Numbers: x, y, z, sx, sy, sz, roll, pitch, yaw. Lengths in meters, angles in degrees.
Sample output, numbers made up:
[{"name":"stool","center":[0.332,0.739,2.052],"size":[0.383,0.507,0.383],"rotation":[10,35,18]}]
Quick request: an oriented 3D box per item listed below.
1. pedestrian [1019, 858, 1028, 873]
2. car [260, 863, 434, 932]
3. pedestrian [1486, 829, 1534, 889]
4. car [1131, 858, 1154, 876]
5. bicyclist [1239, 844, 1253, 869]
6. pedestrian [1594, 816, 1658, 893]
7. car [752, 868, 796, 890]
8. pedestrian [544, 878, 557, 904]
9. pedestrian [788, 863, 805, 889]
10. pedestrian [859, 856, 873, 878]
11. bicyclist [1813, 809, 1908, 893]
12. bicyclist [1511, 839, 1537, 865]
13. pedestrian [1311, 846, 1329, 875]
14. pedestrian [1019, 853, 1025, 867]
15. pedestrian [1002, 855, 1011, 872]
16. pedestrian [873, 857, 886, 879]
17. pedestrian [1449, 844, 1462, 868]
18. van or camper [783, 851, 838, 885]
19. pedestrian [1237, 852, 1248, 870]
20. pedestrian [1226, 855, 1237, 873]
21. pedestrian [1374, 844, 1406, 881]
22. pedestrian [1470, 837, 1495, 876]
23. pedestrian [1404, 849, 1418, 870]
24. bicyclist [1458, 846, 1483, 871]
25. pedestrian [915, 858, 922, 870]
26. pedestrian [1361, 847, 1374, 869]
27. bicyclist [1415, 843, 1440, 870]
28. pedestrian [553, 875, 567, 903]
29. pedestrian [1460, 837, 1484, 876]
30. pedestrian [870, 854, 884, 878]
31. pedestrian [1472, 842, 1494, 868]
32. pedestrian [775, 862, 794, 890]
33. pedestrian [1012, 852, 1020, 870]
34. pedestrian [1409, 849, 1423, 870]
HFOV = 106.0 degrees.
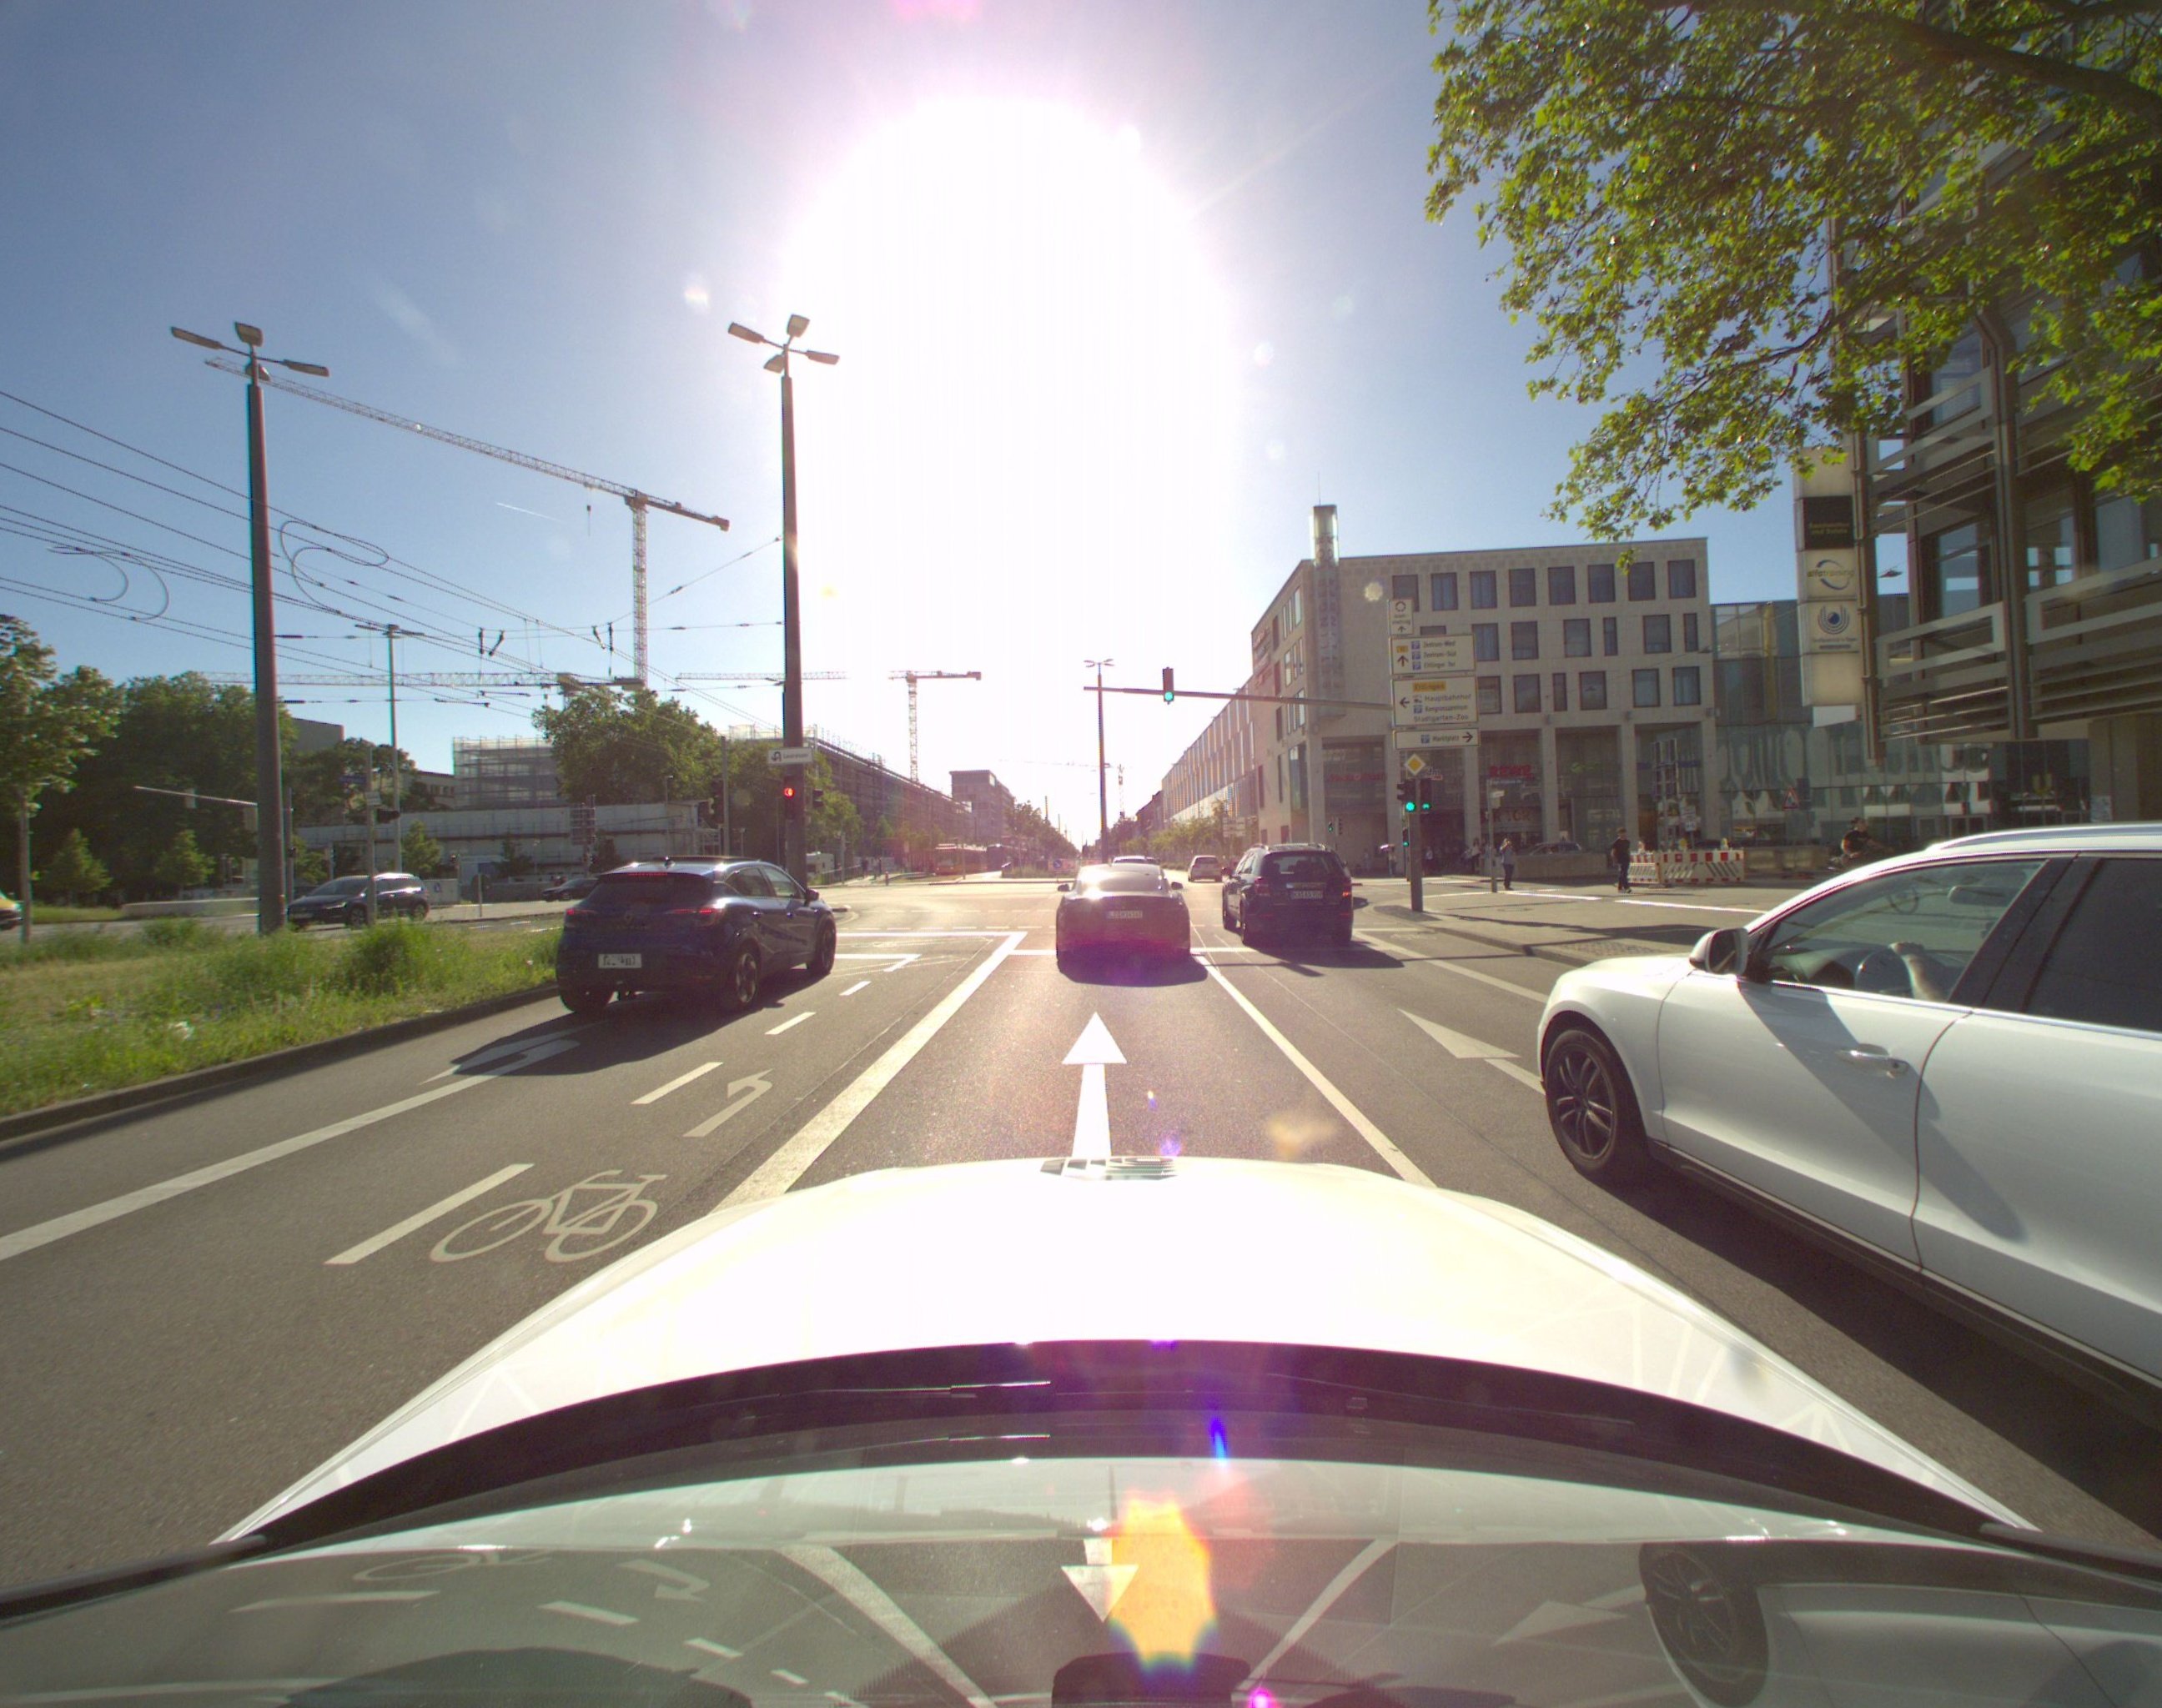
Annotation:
[{"name":"pedestrian","center":[-5.982,1.196,84.727],"size":[0.739,1.628,0.862],"rotation":[-2,-1,2]},{"name":"car","center":[-23.508,1.332,26.321],"size":[1.863,1.955,4.001],"rotation":[-2,0,1]},{"name":"pedestrian","center":[14.787,0.173,28.088],"size":[0.947,2.014,1.076],"rotation":[-2,-1,-10]},{"name":"car","center":[5.187,1.118,69.003],"size":[1.710,1.432,4.001],"rotation":[-1,0,2]},{"name":"bicyclist","center":[11.900,0.169,58.612],"size":[0.723,1.737,0.996],"rotation":[-2,-1,-3]},{"name":"pedestrian","center":[14.828,0.009,22.195],"size":[0.945,2.014,1.077],"rotation":[-2,0,-6]},{"name":"car","center":[-25.273,2.045,67.291],"size":[1.939,1.707,4.366],"rotation":[-2,-1,0]},{"name":"pedestrian","center":[-37.135,2.583,57.021],"size":[0.704,1.823,0.589],"rotation":[-2,-1,-37]},{"name":"pedestrian","center":[-20.074,1.531,57.478],"size":[0.797,1.823,0.976],"rotation":[-2,0,-2]},{"name":"pedestrian","center":[-17.711,1.074,67.053],"size":[0.797,1.823,0.976],"rotation":[-2,0,-2]},{"name":"bicyclist","center":[14.340,-0.055,15.009],"size":[0.878,1.477,0.884],"rotation":[-2,0,1]},{"name":"bicyclist","center":[25.421,-0.119,46.737],"size":[0.928,1.433,1.042],"rotation":[-2,-1,4]},{"name":"pedestrian","center":[14.925,0.406,50.825],"size":[0.725,1.801,1.066],"rotation":[-4,-1,1]},{"name":"pedestrian","center":[-7.610,0.788,104.875],"size":[0.669,1.811,1.074],"rotation":[-2,-1,0]},{"name":"pedestrian","center":[-7.803,1.006,85.475],"size":[0.872,1.775,1.188],"rotation":[0,0,-2]},{"name":"pedestrian","center":[-17.071,1.161,69.110],"size":[0.797,1.823,0.976],"rotation":[-2,0,-2]},{"name":"pedestrian","center":[28.865,0.147,62.718],"size":[0.559,1.762,0.643],"rotation":[-2,0,-35]},{"name":"van or camper","center":[-24.985,1.265,75.590],"size":[2.597,2.937,7.340],"rotation":[-2,0,0]},{"name":"pedestrian","center":[15.239,0.680,77.005],"size":[0.705,1.658,0.899],"rotation":[-4,-1,-3]},{"name":"pedestrian","center":[14.307,0.913,77.249],"size":[0.819,1.658,0.899],"rotation":[-1,-1,-3]},{"name":"pedestrian","center":[15.963,0.425,42.132],"size":[0.963,1.801,1.523],"rotation":[-4,-1,1]},{"name":"pedestrian","center":[17.253,0.109,34.999],"size":[0.659,1.612,0.525],"rotation":[-4,-1,-8]},{"name":"pedestrian","center":[25.172,0.413,62.094],"size":[0.559,1.608,0.742],"rotation":[-2,0,-35]},{"name":"bicyclist","center":[22.431,0.276,46.879],"size":[0.928,1.396,1.078],"rotation":[-2,-1,4]},{"name":"pedestrian","center":[-17.347,1.096,86.980],"size":[0.669,1.226,0.506],"rotation":[0,-1,-2]},{"name":"pedestrian","center":[20.990,0.277,59.692],"size":[0.745,1.608,0.556],"rotation":[-2,0,0]},{"name":"bicyclist","center":[20.007,0.140,47.012],"size":[1.017,1.476,1.073],"rotation":[-2,-1,5]},{"name":"pedestrian","center":[-35.576,2.394,55.633],"size":[0.704,1.823,0.589],"rotation":[-2,-1,-37]},{"name":"pedestrian","center":[17.056,0.109,35.544],"size":[0.659,1.612,0.525],"rotation":[-4,-1,-8]},{"name":"pedestrian","center":[-16.372,0.964,65.446],"size":[0.797,1.823,0.976],"rotation":[-2,0,-2]},{"name":"pedestrian","center":[26.886,0.054,54.510],"size":[0.974,1.684,0.860],"rotation":[-2,-1,-1]},{"name":"pedestrian","center":[-20.363,1.505,55.892],"size":[0.792,1.823,0.887],"rotation":[-2,-1,33]},{"name":"pedestrian","center":[-6.561,0.702,82.445],"size":[0.701,1.775,0.959],"rotation":[0,0,-2]},{"name":"pedestrian","center":[25.704,0.417,62.493],"size":[0.559,1.608,0.742],"rotation":[-2,0,-36]}]
